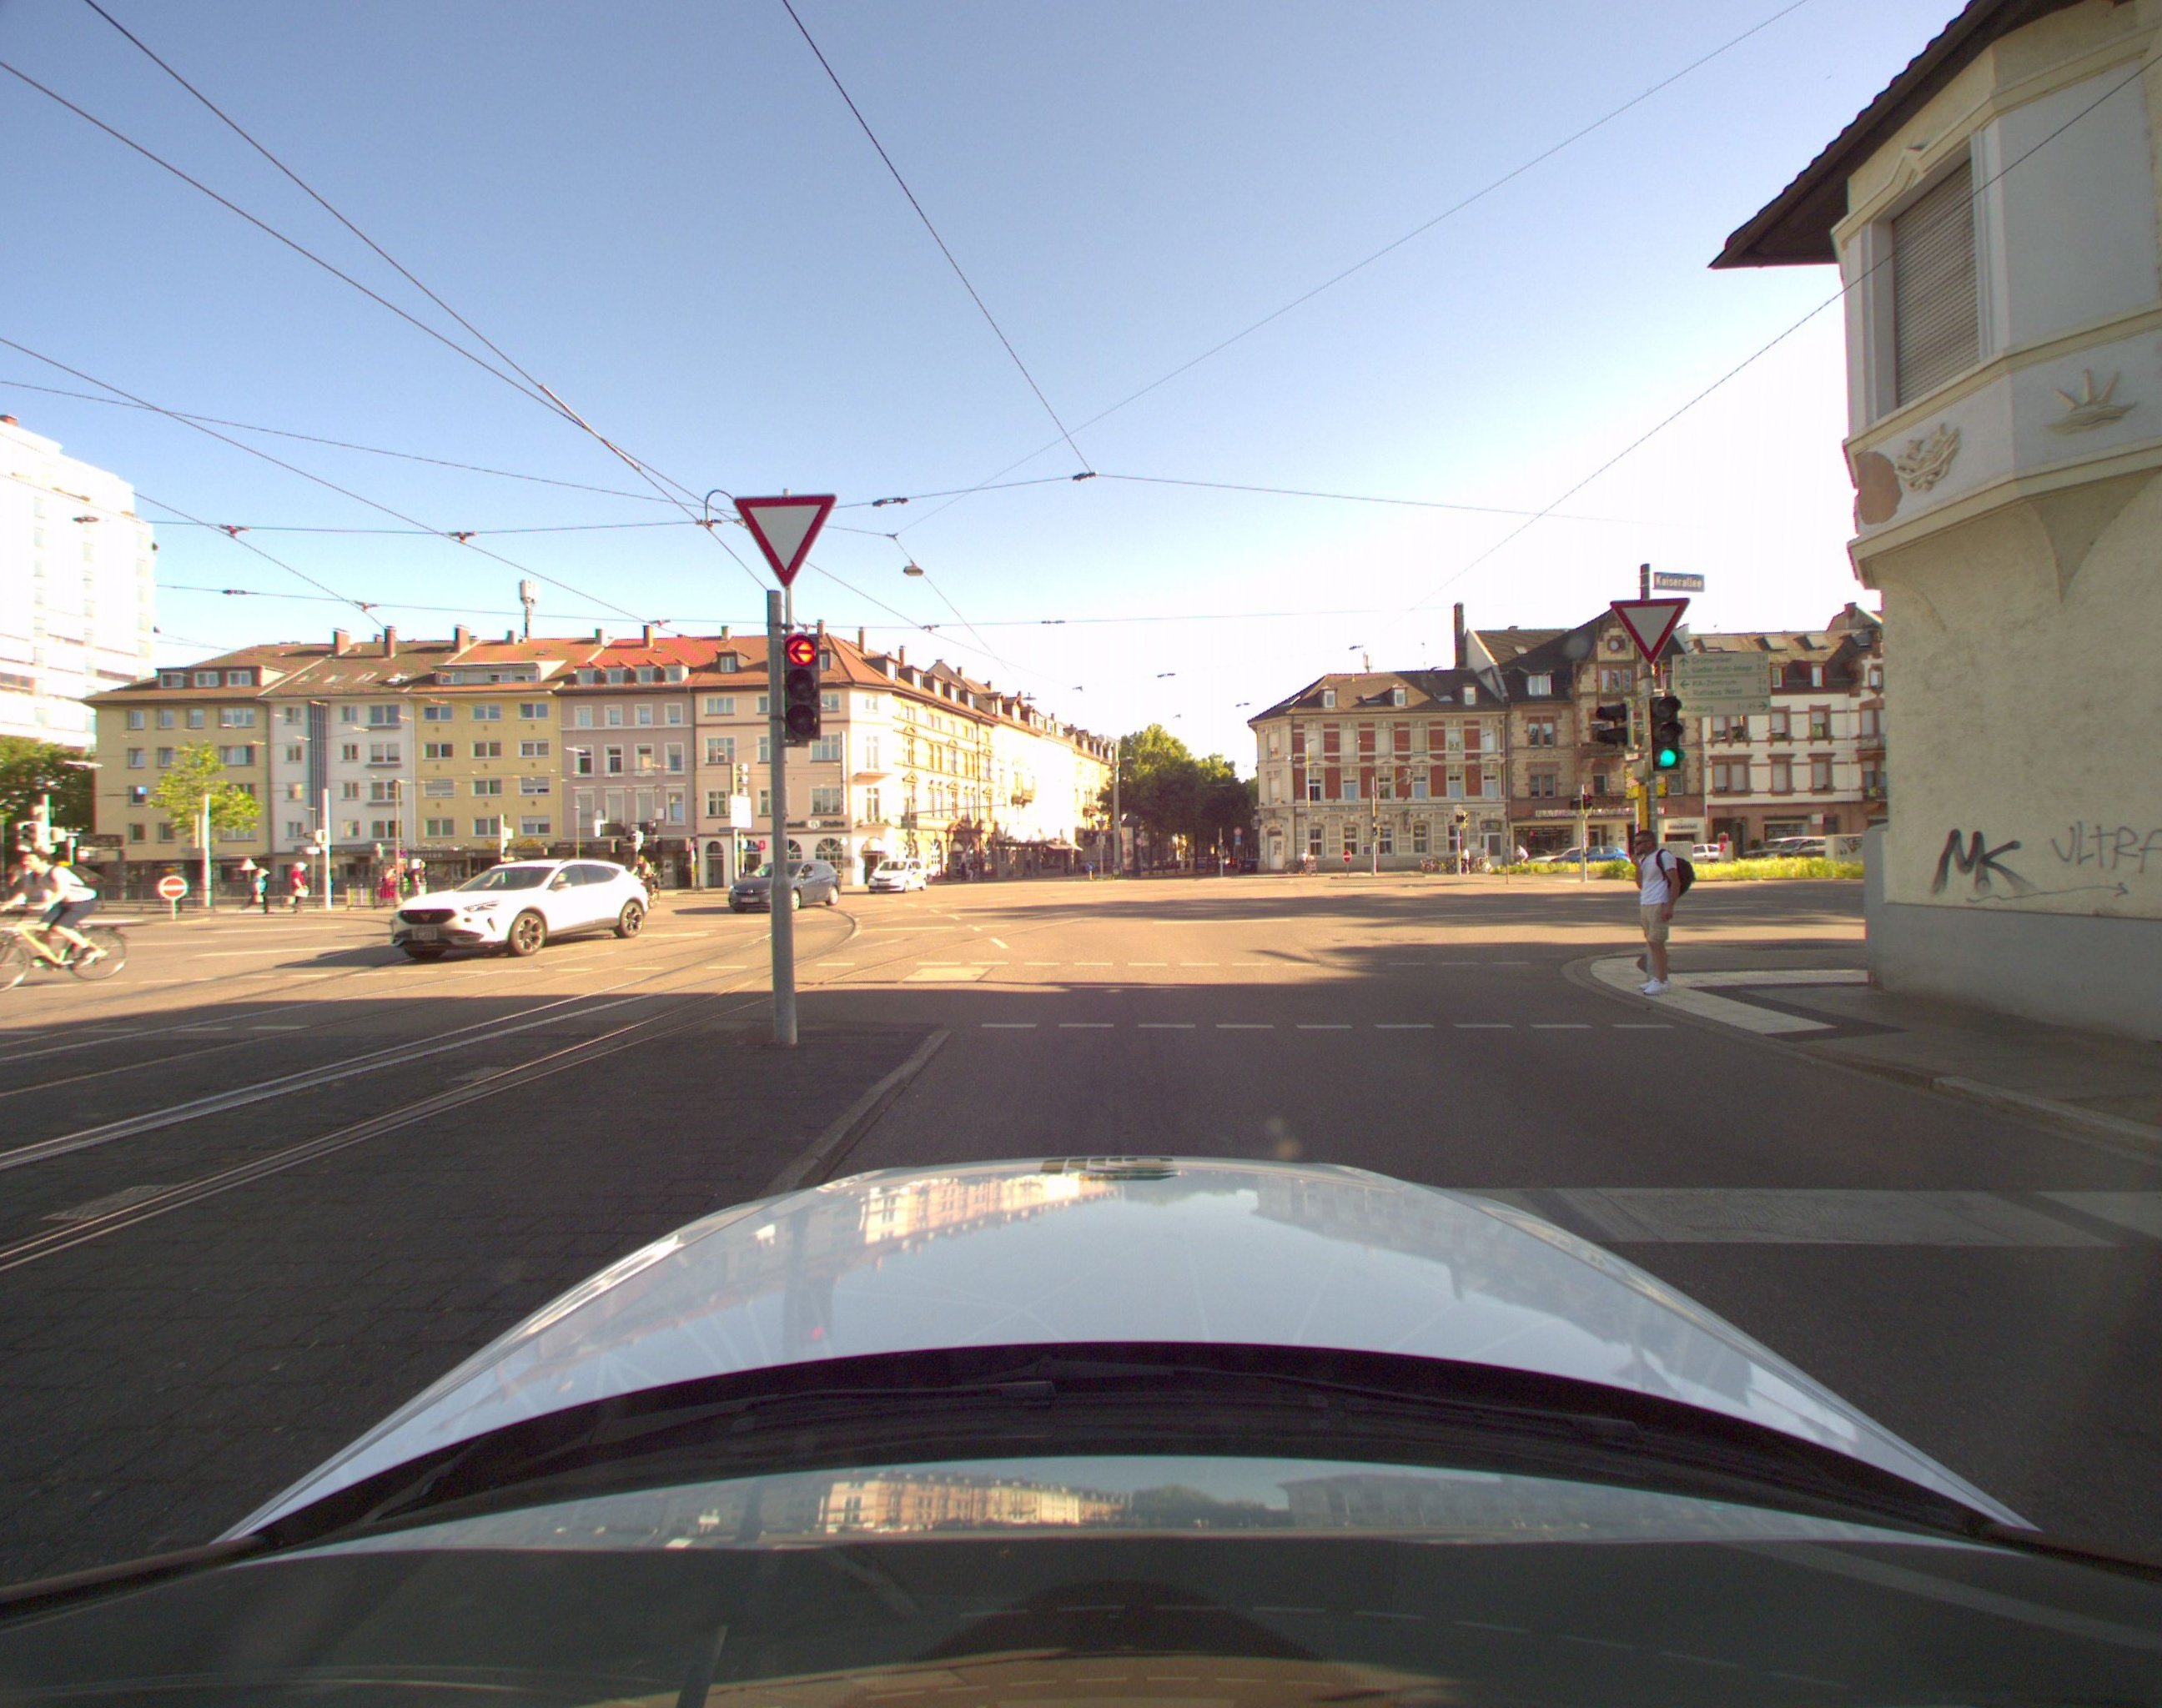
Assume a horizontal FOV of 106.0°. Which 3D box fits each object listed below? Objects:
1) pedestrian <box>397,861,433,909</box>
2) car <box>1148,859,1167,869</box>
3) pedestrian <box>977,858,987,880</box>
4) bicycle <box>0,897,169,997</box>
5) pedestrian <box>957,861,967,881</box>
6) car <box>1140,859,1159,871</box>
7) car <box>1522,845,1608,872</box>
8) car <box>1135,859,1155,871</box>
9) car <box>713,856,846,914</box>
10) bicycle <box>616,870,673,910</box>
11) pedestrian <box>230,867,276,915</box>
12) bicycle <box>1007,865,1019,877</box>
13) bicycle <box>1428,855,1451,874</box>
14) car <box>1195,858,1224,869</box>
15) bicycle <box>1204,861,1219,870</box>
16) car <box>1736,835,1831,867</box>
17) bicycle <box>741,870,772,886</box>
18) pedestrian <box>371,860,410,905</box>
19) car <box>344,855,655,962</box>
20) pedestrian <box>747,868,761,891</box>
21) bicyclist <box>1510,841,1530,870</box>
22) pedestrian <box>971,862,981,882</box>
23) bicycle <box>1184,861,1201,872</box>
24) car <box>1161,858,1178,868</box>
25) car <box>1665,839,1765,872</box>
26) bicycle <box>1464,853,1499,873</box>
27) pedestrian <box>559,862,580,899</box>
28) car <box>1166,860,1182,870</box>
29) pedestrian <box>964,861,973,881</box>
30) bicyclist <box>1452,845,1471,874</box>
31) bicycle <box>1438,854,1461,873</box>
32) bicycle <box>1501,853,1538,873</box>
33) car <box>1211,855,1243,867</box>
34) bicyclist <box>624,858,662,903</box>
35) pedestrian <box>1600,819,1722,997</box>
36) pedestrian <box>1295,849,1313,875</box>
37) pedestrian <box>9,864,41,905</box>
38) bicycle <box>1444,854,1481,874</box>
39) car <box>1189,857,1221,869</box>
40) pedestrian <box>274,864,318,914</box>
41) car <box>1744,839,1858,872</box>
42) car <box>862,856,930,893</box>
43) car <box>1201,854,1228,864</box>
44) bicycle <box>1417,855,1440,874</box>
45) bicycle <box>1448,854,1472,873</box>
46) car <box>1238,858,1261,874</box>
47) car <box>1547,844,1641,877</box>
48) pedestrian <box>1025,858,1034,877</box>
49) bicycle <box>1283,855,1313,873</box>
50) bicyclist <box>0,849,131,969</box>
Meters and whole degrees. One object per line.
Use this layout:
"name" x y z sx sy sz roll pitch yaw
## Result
"pedestrian" -24.941 1.158 30.512 0.797 1.733 0.653 -1 0 -2
"car" 11.515 1.478 122.512 1.978 1.497 4.051 -2 0 16
"pedestrian" -8.444 1.277 69.432 0.575 1.836 0.636 -2 0 18
"bicycle" -13.897 1.228 11.138 0.483 1.166 2.057 -1 0 2
"pedestrian" -9.972 1.408 68.436 0.622 1.642 0.540 -2 0 17
"car" 9.902 1.585 117.311 1.978 1.497 4.051 -2 0 16
"car" 28.512 0.261 48.030 3.973 1.412 1.846 -1 0 1
"car" 8.932 1.556 112.845 1.978 1.497 4.051 -2 0 16
"car" -8.696 0.843 23.977 1.765 1.497 4.581 -2 0 6
"bicycle" -13.539 1.095 25.307 0.482 1.166 1.962 -1 0 8
"pedestrian" -28.787 1.283 28.311 0.855 1.631 0.812 -2 -1 19
"bicycle" -6.709 1.662 79.875 0.491 1.067 1.778 -2 0 18
"bicycle" 23.201 0.657 52.783 0.674 1.191 1.969 -1 0 3
"car" 20.199 1.448 128.017 3.949 1.545 2.012 -2 0 30
"bicycle" 15.872 1.360 99.046 0.586 1.067 1.928 -1 0 -34
"car" 45.237 -0.187 52.506 4.388 1.965 1.955 -1 0 1
"bicycle" -22.811 1.686 57.250 1.940 1.067 0.582 -1 0 -6
"pedestrian" -27.083 1.114 31.959 0.818 1.733 0.789 -1 0 2
"car" -9.508 0.785 13.881 1.985 1.497 4.350 -1 0 3
"pedestrian" -21.987 1.720 54.797 0.656 1.524 0.694 -1 0 -4
"bicyclist" 27.416 0.108 50.850 0.898 1.764 0.603 -2 0 6
"pedestrian" -8.804 1.470 68.282 0.546 1.642 0.636 -2 0 16
"bicycle" 11.334 1.308 82.651 0.586 1.067 1.928 -1 0 -34
"car" 14.331 1.469 131.622 1.978 1.497 4.051 -2 0 16
"car" 34.807 0.094 44.772 3.973 1.668 1.955 -1 0 1
"bicycle" 25.745 0.570 52.317 1.961 1.191 0.677 -1 0 -10
"pedestrian" -23.005 1.192 36.646 0.729 1.627 0.665 -1 0 -30
"car" 15.557 1.883 136.355 1.978 1.497 4.051 -2 0 16
"pedestrian" -9.413 1.406 68.351 0.546 1.642 0.540 -2 0 16
"bicyclist" 23.583 0.332 50.518 0.869 1.764 0.602 -1 0 4
"bicycle" 23.849 0.624 52.768 0.674 1.191 1.969 -1 0 3
"bicycle" 27.360 0.579 50.864 1.950 1.191 0.603 -2 0 6
"car" 20.863 1.011 116.236 3.948 1.545 2.013 -2 0 32
"bicyclist" -13.545 0.819 25.192 0.600 1.340 0.900 -1 0 9
"pedestrian" 6.077 0.548 8.553 0.691 1.740 0.668 -4 -1 -26
"pedestrian" 15.010 0.539 54.838 0.721 1.669 0.928 -1 0 -40
"pedestrian" -41.326 1.179 31.881 0.722 1.568 0.599 -2 -1 22
"bicycle" 23.643 0.593 50.515 1.952 1.191 0.602 -1 0 4
"car" 17.555 1.309 115.480 3.949 1.545 2.012 -2 0 30
"pedestrian" -27.582 1.229 28.634 0.815 1.724 0.853 -2 -1 24
"car" 39.463 0.073 44.712 4.456 1.668 1.955 -1 0 1
"car" -8.058 0.868 35.741 1.708 1.497 3.591 -2 0 8
"car" 21.951 0.876 134.088 3.949 1.545 2.012 -2 0 30
"bicycle" 22.499 0.647 52.774 0.674 1.191 1.969 -1 0 3
"bicycle" 24.523 0.627 52.744 0.674 1.191 1.969 -1 0 3
"car" 17.015 1.150 82.173 1.978 1.497 4.051 -2 0 16
"car" 28.320 0.339 45.037 3.973 1.668 1.955 -1 0 1
"pedestrian" -5.167 1.349 81.340 0.676 1.908 0.636 -2 0 18
"bicycle" 15.190 0.718 56.967 1.950 1.191 0.547 -2 0 6
"bicyclist" -13.928 0.718 11.120 0.712 1.559 0.987 -1 0 2
